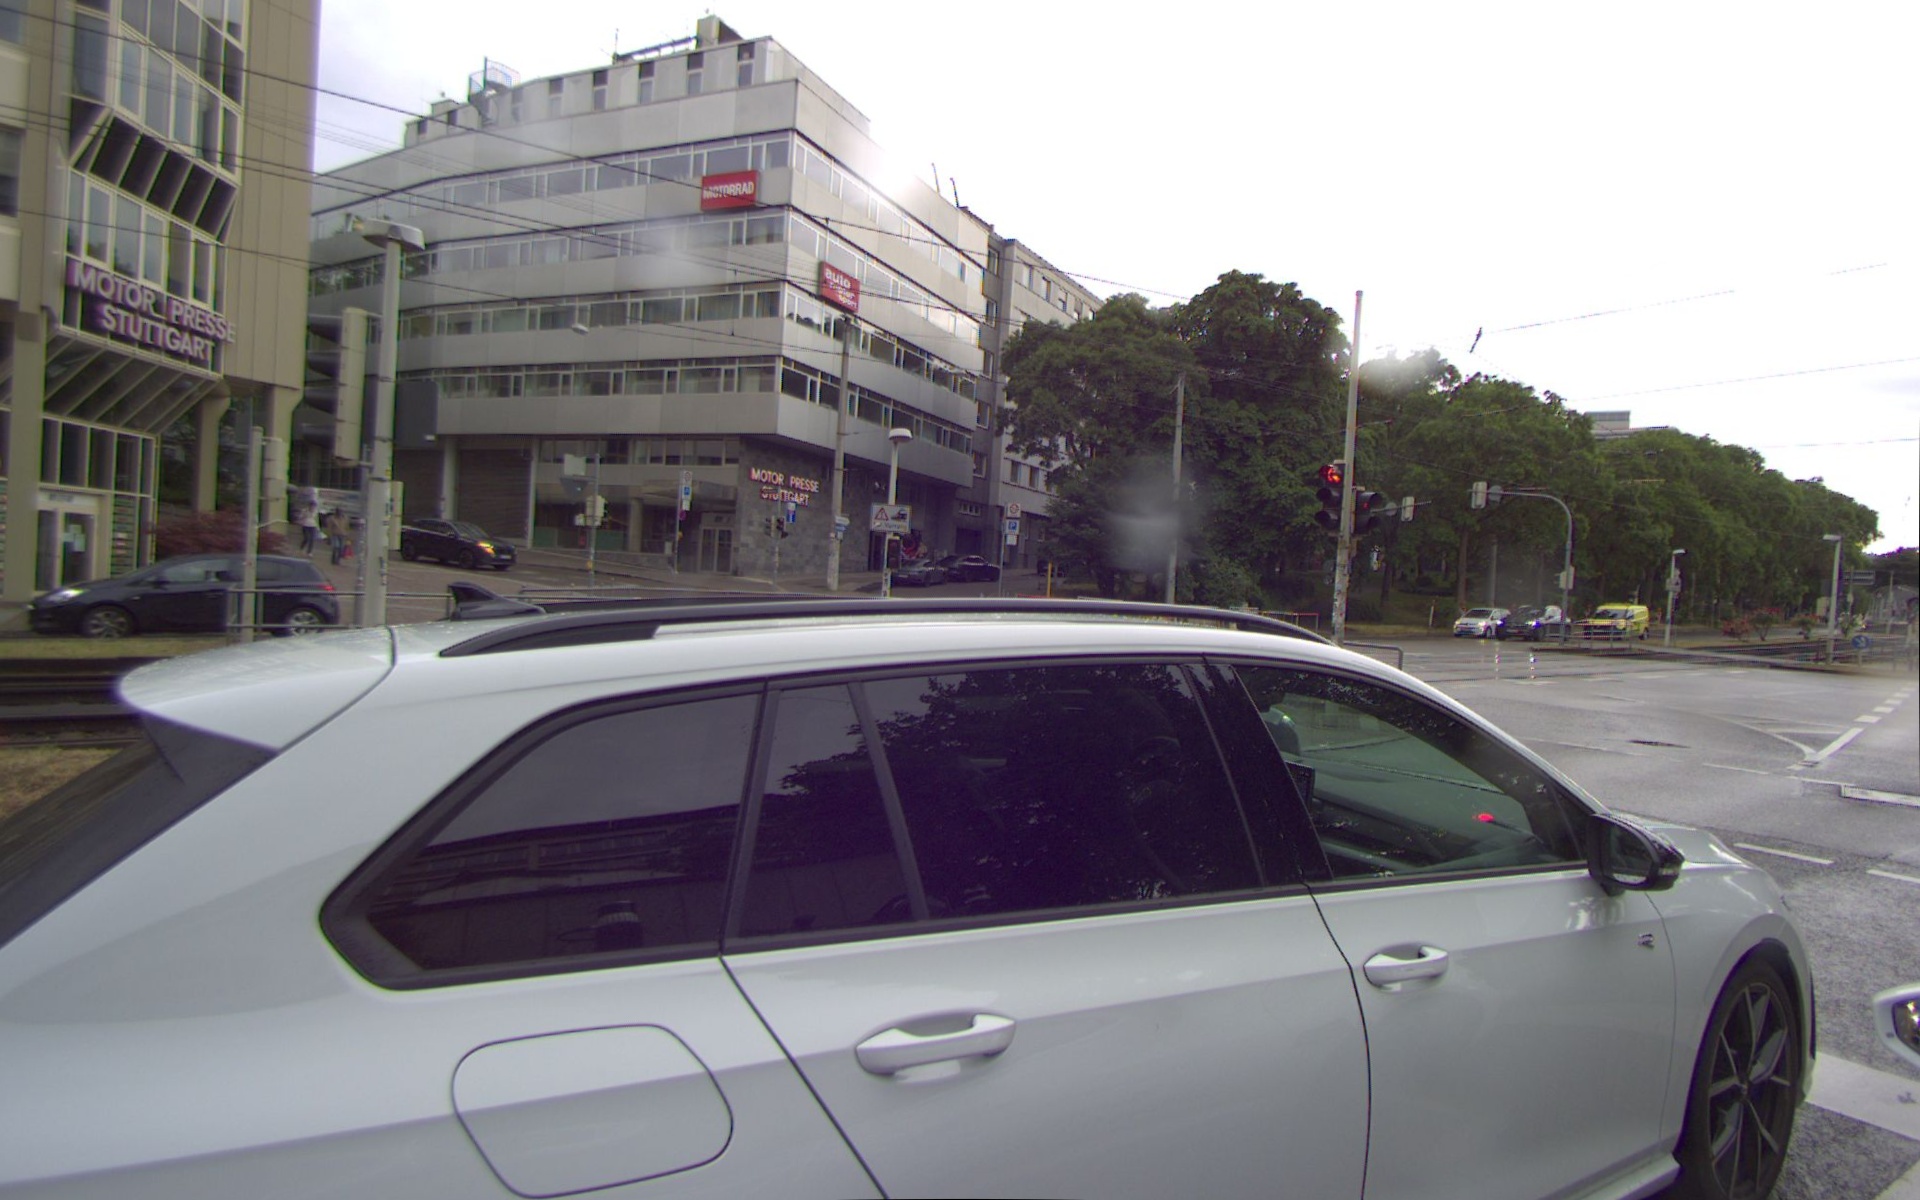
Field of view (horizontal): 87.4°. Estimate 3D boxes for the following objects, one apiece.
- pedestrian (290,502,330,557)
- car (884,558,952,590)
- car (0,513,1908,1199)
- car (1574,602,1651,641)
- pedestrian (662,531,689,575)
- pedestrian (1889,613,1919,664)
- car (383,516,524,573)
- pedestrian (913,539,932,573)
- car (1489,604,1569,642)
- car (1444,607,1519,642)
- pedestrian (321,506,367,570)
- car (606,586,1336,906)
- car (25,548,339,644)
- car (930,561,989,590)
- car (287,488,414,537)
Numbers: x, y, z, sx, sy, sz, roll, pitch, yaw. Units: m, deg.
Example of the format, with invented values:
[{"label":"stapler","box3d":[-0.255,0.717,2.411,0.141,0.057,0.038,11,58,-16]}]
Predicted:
[{"label":"pedestrian","box3d":[-20.349,-2.201,31.442,0.746,1.661,0.719,5,2,25]},{"label":"car","box3d":[-2.059,-1.295,50.611,1.842,1.450,4.091,3,2,22]},{"label":"car","box3d":[0.300,0.703,2.474,4.423,1.461,1.787,2,0,-30]},{"label":"car","box3d":[34.084,1.134,52.437,4.525,1.875,1.905,2,1,-38]},{"label":"pedestrian","box3d":[-12.680,-2.110,44.762,0.833,1.886,0.719,5,2,25]},{"label":"pedestrian","box3d":[35.317,1.413,37.476,0.862,1.826,0.860,1,3,-45]},{"label":"car","box3d":[-18.819,-2.048,37.323,4.794,1.601,1.999,7,3,23]},{"label":"pedestrian","box3d":[-2.154,-2.520,57.482,0.707,1.886,0.758,5,4,31]},{"label":"car","box3d":[26.368,1.072,46.494,3.648,1.566,1.905,2,1,-37]},{"label":"car","box3d":[26.063,1.214,50.187,3.648,1.566,1.905,2,1,-37]},{"label":"pedestrian","box3d":[-18.256,-1.831,29.756,0.746,1.811,0.830,5,2,25]},{"label":"car","box3d":[0.197,0.719,6.487,4.423,1.461,1.787,2,0,-30]},{"label":"car","box3d":[-12.387,-0.051,16.248,3.837,1.375,1.615,1,2,-38]},{"label":"car","box3d":[0.031,-1.354,55.585,1.842,1.450,3.998,3,2,22]},{"label":"car","box3d":[-32.031,-4.545,52.994,1.964,2.040,5.403,2,0,30]}]
